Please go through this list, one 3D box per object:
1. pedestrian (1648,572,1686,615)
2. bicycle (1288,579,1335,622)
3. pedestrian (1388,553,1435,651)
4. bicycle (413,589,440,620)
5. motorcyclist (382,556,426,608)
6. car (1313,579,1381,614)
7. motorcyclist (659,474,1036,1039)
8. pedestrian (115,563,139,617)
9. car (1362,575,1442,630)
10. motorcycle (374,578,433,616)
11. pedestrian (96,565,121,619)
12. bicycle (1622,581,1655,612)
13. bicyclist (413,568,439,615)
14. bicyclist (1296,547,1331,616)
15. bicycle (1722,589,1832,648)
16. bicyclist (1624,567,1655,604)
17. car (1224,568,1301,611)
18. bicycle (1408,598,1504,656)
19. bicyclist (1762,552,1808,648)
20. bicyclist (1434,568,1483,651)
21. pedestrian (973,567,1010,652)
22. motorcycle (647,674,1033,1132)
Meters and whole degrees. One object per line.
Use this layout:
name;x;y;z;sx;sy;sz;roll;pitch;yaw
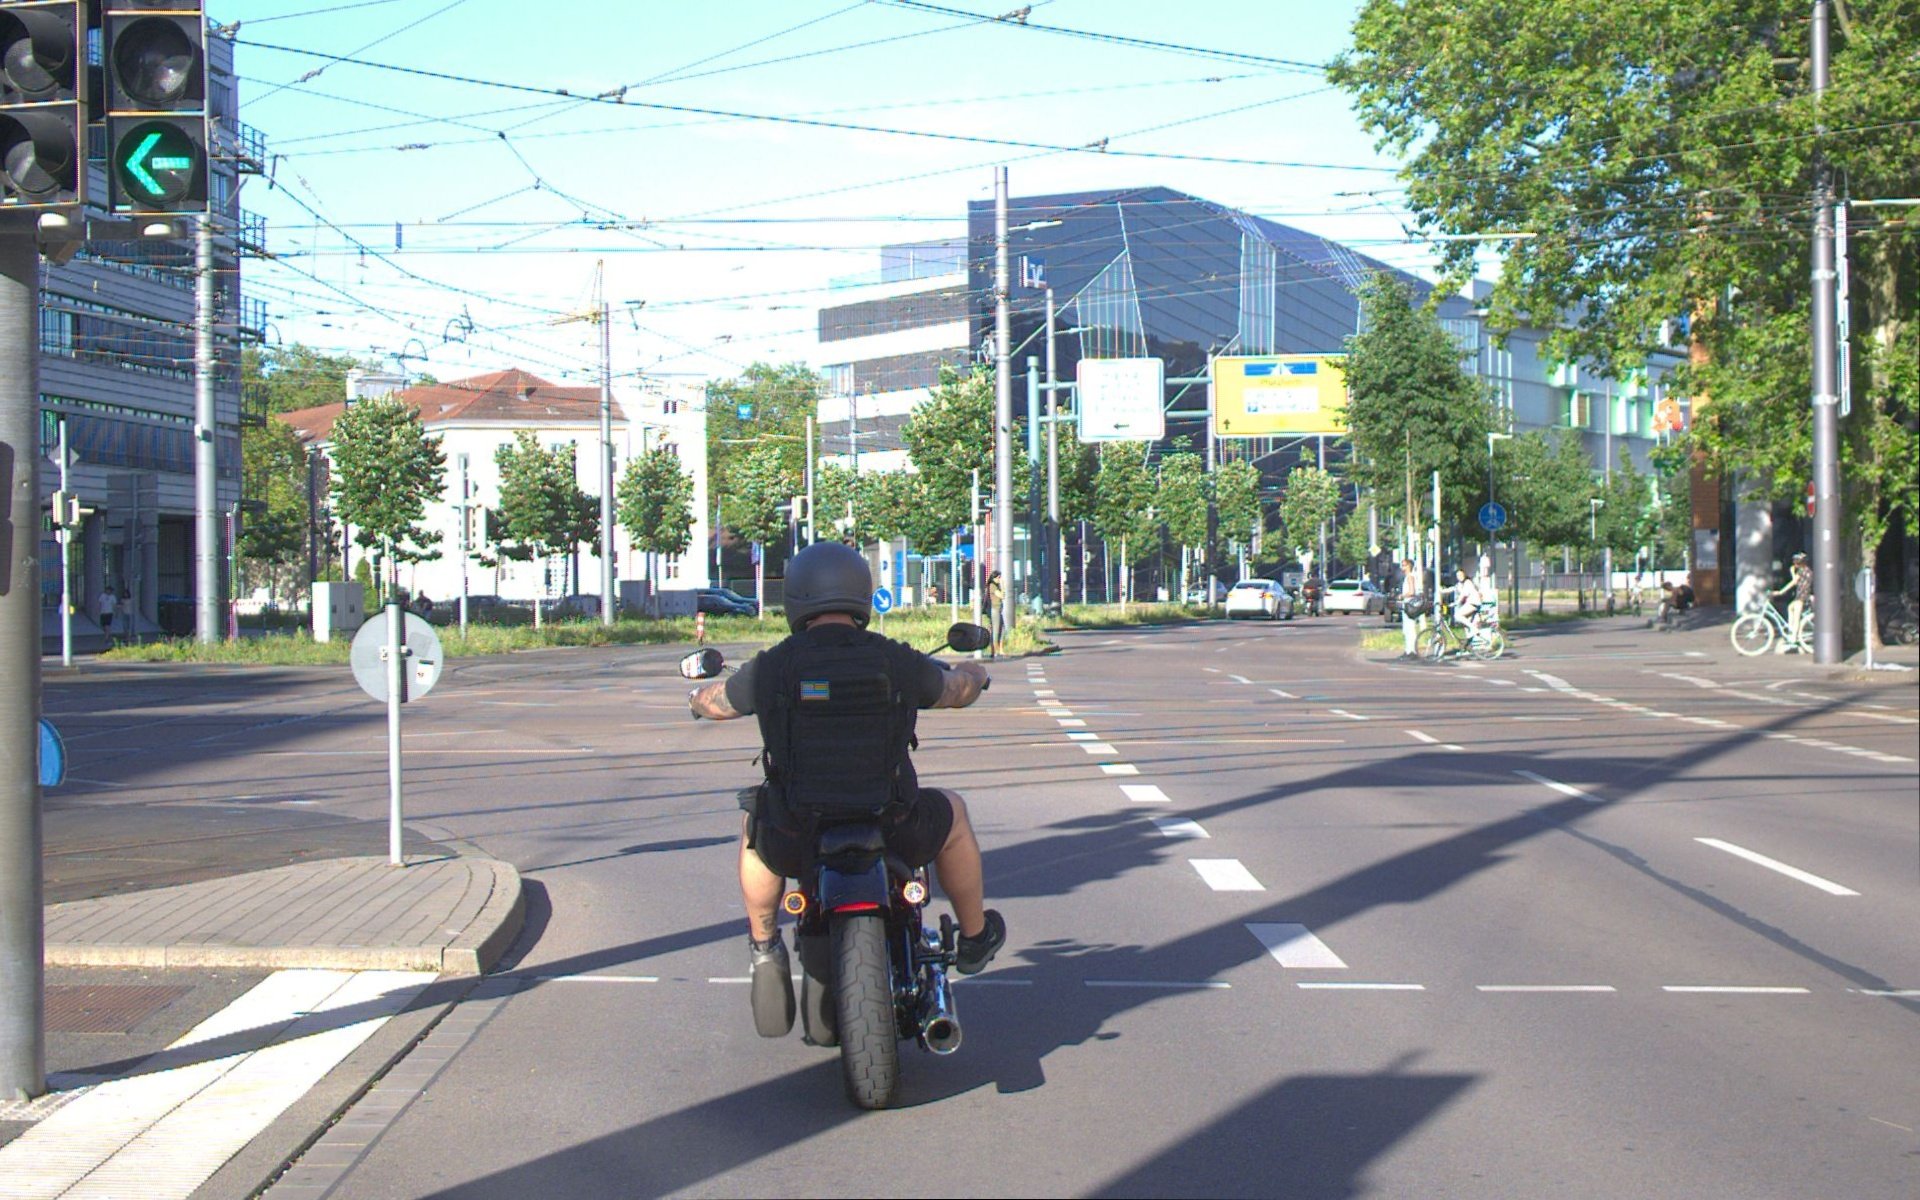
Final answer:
pedestrian;17.702;-0.168;86.047;0.785;1.053;0.813;-1;1;22
bicycle;13.452;0.021;131.446;1.017;1.574;3.571;0;1;18
pedestrian;8.476;0.034;64.530;0.701;1.830;0.514;1;0;35
bicycle;-19.042;0.156;122.712;0.642;1.104;1.685;0;1;2
motorcyclist;-18.542;-0.608;114.695;1.019;1.725;1.460;-1;0;11
car;15.719;-0.169;139.481;2.017;1.371;4.035;0;1;17
motorcyclist;-0.319;0.426;10.128;1.022;1.547;1.286;1;0;-1
pedestrian;-26.730;-0.314;110.301;0.548;1.727;0.641;-1;1;6
car;15.489;0.087;120.321;2.055;1.867;4.223;1;0;17
motorcycle;-18.538;-0.116;114.637;0.984;1.227;2.941;-1;0;11
pedestrian;-27.349;-0.252;110.430;0.548;1.727;0.641;-1;1;6
bicycle;25.566;-0.150;129.572;1.041;1.129;3.178;0;1;15
bicyclist;-19.052;-0.313;122.693;0.764;1.661;0.994;0;0;2
bicyclist;13.536;-0.708;131.632;1.017;2.615;1.470;0;1;18
bicycle;14.403;0.327;60.644;1.853;1.018;0.516;-1;0;11
bicyclist;25.557;-0.549;129.248;1.041;1.376;1.563;0;0;15
car;10.744;-0.363;121.924;1.903;1.503;3.997;1;0;17
bicycle;9.034;0.493;62.631;1.629;1.018;0.516;-1;0;23
bicyclist;14.550;0.001;60.626;0.743;1.689;0.570;-1;0;11
bicyclist;9.072;0.167;62.608;0.743;1.498;0.569;-1;0;23
pedestrian;0.595;0.182;64.164;0.657;1.577;0.489;0;1;3
motorcycle;-0.333;0.825;10.232;1.005;1.121;2.323;1;1;-1
